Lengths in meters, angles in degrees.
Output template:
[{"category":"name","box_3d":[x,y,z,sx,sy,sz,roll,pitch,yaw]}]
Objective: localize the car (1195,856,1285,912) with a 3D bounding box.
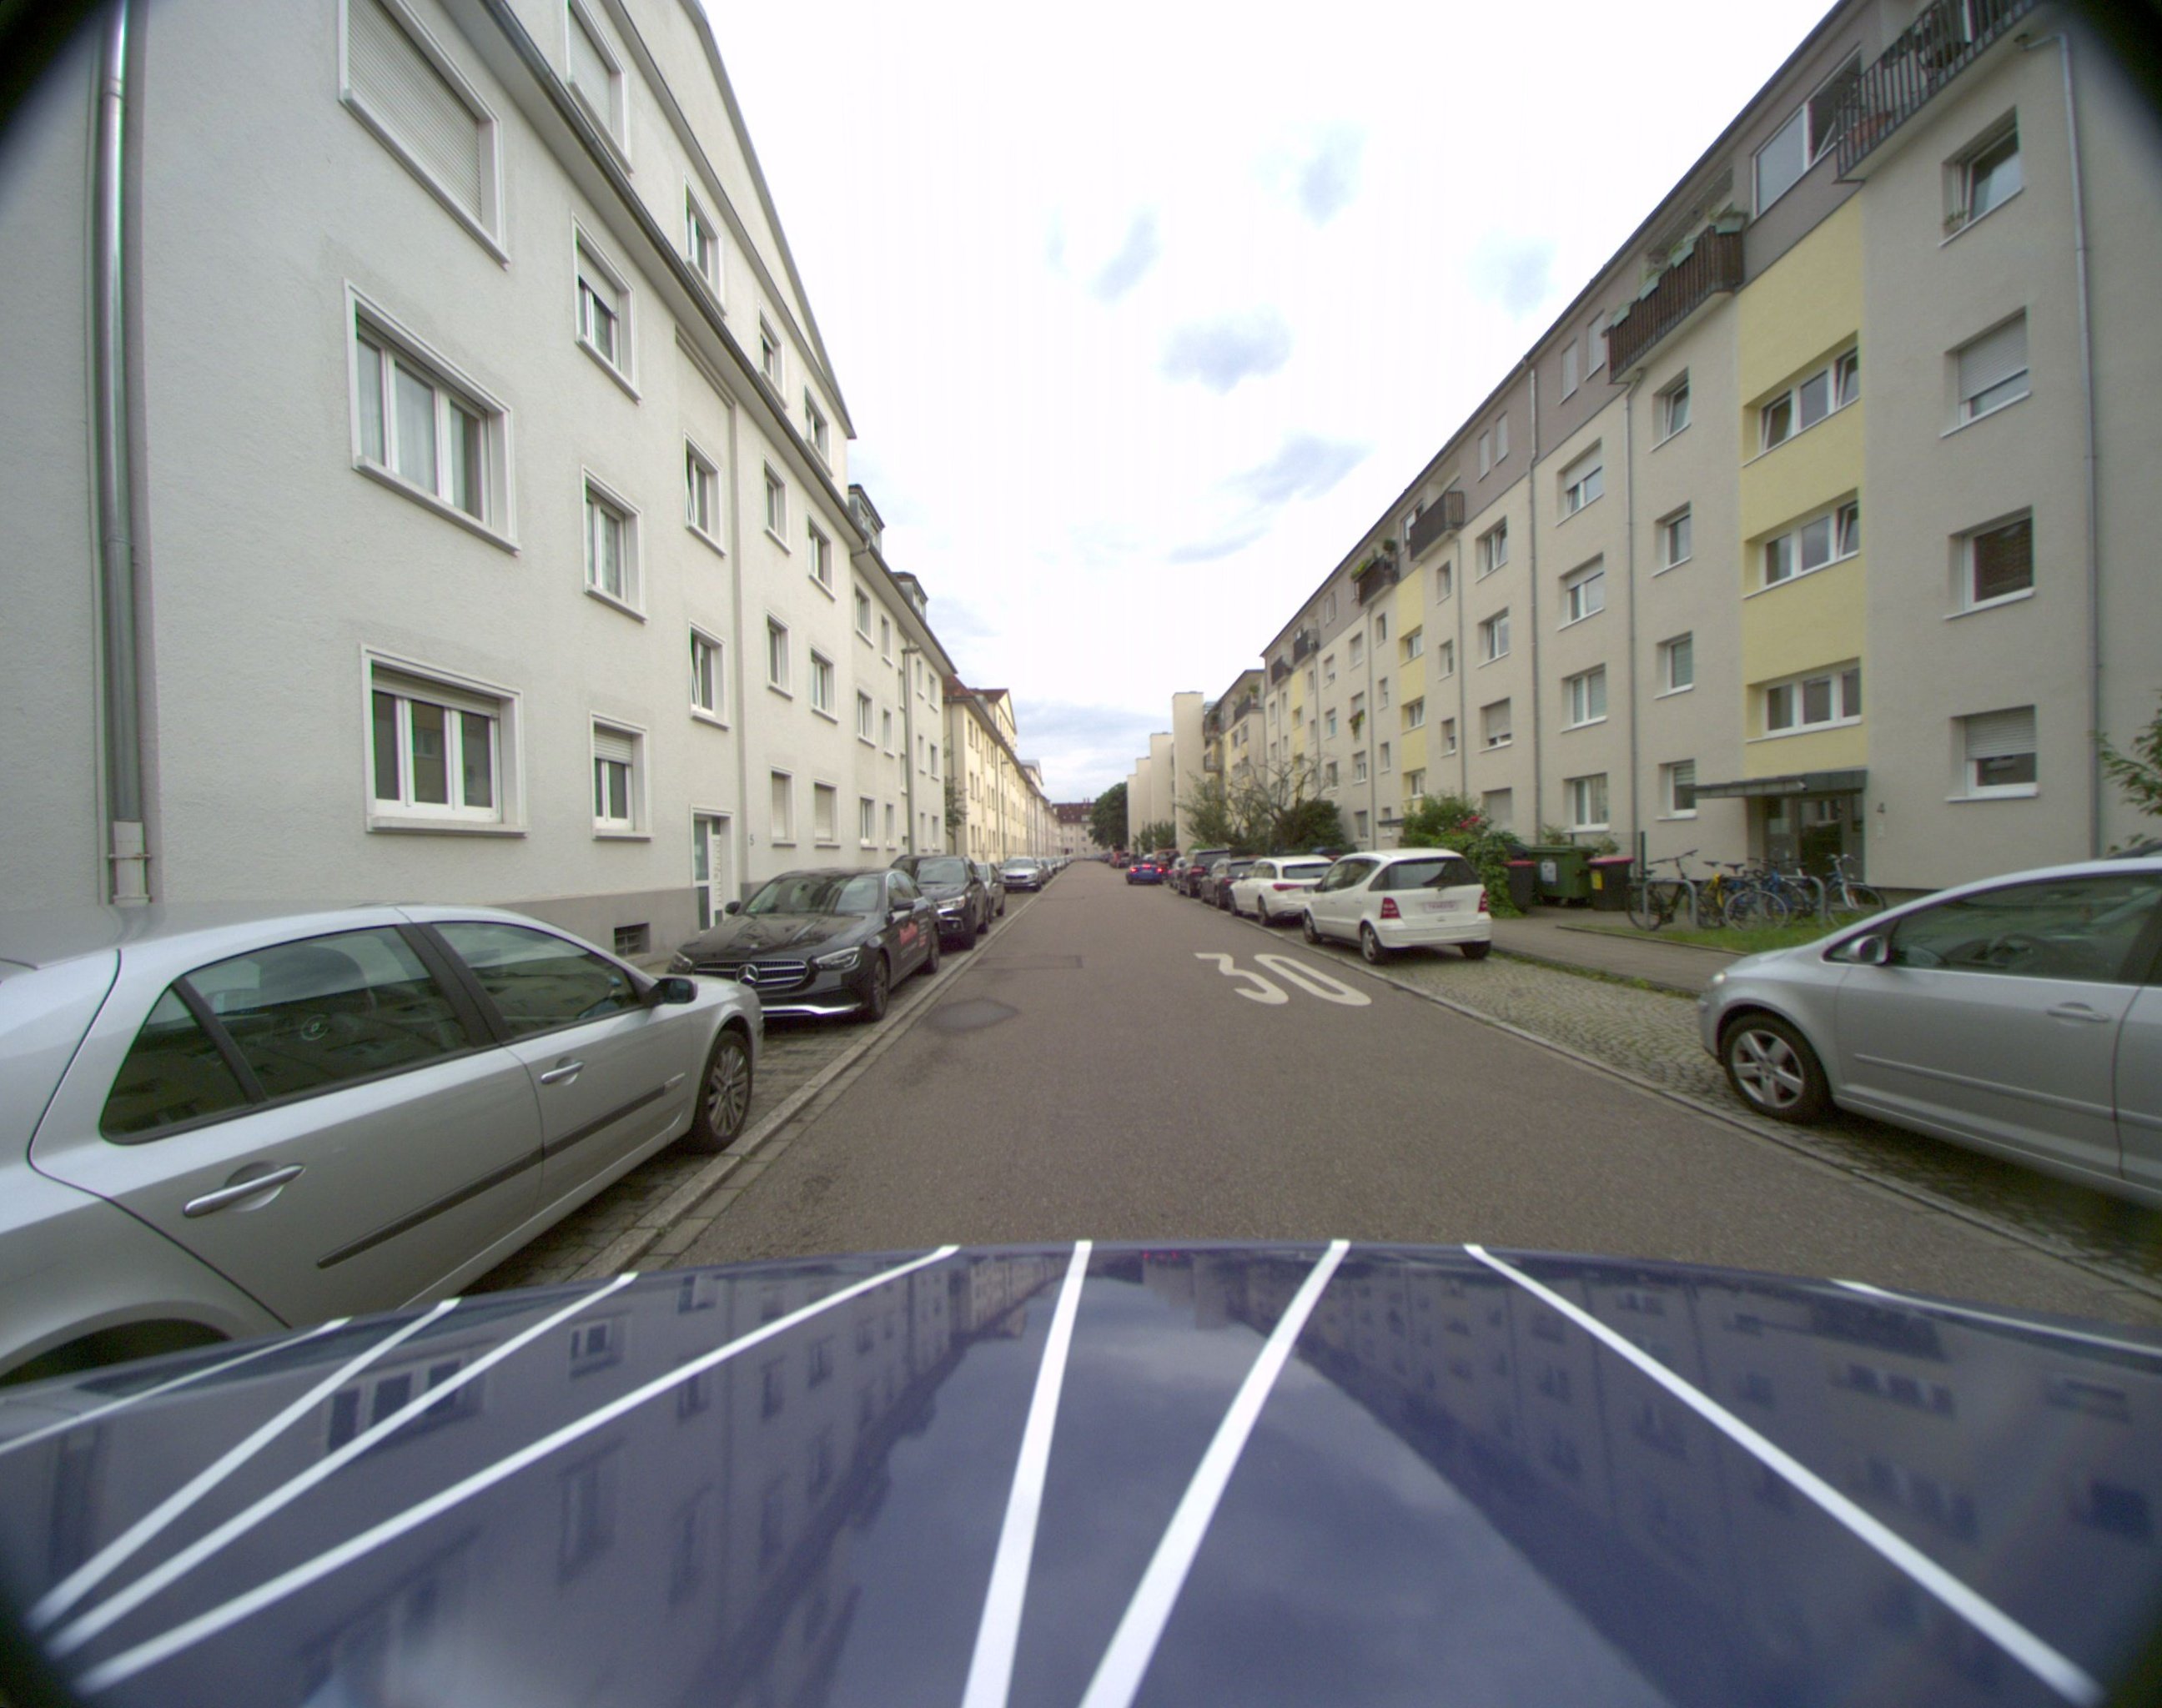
[{"category":"car","box_3d":[4.619,0.806,22.703,1.729,1.445,4.482,-1,0,0]}]

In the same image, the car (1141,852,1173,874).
[{"category":"car","box_3d":[5.175,0.618,52.283,1.707,1.436,3.541,-1,0,-2]}]

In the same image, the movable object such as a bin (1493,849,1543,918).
[{"category":"movable object such as a bin","box_3d":[9.044,0.596,15.744,0.659,1.360,0.587,-2,2,-4]}]

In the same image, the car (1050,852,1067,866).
[{"category":"car","box_3d":[-2.392,0.559,81.665,1.737,1.443,4.217,-1,0,-1]}]

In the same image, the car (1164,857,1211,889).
[{"category":"car","box_3d":[4.928,0.855,35.543,1.575,1.389,3.541,-1,0,-2]}]

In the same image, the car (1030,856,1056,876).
[{"category":"car","box_3d":[-2.691,0.839,54.778,1.737,1.402,4.217,-1,0,-1]}]

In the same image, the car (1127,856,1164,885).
[{"category":"car","box_3d":[3.409,0.848,40.757,1.679,1.307,3.907,-1,1,1]}]

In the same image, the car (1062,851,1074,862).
[{"category":"car","box_3d":[-2.052,0.408,120.484,1.737,1.670,3.591,-1,0,-1]}]

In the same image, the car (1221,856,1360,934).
[{"category":"car","box_3d":[4.618,0.835,17.521,1.723,1.501,4.686,-1,0,-2]}]

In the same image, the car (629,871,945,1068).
[{"category":"car","box_3d":[-2.734,0.970,8.238,1.786,1.454,4.322,-1,0,-1]}]

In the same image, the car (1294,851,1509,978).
[{"category":"car","box_3d":[4.740,0.797,11.853,1.689,1.629,3.727,-1,0,-1]}]

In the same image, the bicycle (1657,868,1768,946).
[{"category":"bicycle","box_3d":[9.175,0.735,11.101,0.357,1.018,1.497,-1,0,0]}]

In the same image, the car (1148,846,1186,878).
[{"category":"car","box_3d":[5.184,0.471,46.094,1.707,1.795,3.541,-1,0,-2]}]

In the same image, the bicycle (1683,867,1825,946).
[{"category":"bicycle","box_3d":[9.671,0.717,11.016,0.479,1.018,1.754,-1,0,0]}]

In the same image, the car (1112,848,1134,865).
[{"category":"car","box_3d":[5.102,0.331,92.486,2.188,2.019,4.422,-1,0,-2]}]

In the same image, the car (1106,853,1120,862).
[{"category":"car","box_3d":[5.499,0.631,131.275,1.745,1.534,3.636,-2,0,-6]}]

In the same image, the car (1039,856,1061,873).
[{"category":"car","box_3d":[-2.517,0.836,62.487,1.737,1.363,4.217,-1,0,-1]}]

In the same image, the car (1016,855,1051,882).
[{"category":"car","box_3d":[-2.661,0.800,43.534,1.737,1.418,4.217,-1,0,0]}]

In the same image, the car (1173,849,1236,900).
[{"category":"car","box_3d":[4.577,0.733,28.732,1.575,1.769,4.452,-1,0,-1]}]

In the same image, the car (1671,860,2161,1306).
[{"category":"car","box_3d":[4.726,0.840,3.000,1.658,1.541,3.915,-3,0,-1]}]

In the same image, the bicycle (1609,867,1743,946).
[{"category":"bicycle","box_3d":[8.695,0.730,11.206,0.489,1.018,1.878,-1,0,0]}]

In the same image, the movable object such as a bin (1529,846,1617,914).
[{"category":"movable object such as a bin","box_3d":[10.500,0.530,16.253,1.059,1.367,1.188,-2,2,-5]}]

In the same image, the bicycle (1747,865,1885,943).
[{"category":"bicycle","box_3d":[10.558,0.684,10.988,0.421,1.018,1.559,-2,0,-3]}]

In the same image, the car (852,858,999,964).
[{"category":"car","box_3d":[-2.620,0.892,13.781,1.853,1.589,4.159,-1,0,-1]}]

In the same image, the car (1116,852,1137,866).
[{"category":"car","box_3d":[5.138,0.576,86.251,2.013,1.436,4.197,-1,0,-2]}]

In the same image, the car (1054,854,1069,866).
[{"category":"car","box_3d":[-2.317,0.718,91.458,1.737,1.443,4.217,-1,0,-1]}]

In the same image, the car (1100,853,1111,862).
[{"category":"car","box_3d":[4.650,0.659,144.746,1.707,1.528,3.541,-2,0,-2]}]

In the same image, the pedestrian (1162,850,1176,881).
[{"category":"pedestrian","box_3d":[4.772,0.601,41.229,0.603,1.657,0.622,-2,0,-2]}]

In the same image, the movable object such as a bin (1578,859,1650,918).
[{"category":"movable object such as a bin","box_3d":[10.637,0.678,15.188,0.871,1.103,0.787,-2,2,-4]}]

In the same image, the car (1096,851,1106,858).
[{"category":"car","box_3d":[4.762,0.187,180.657,1.745,1.534,3.636,-2,0,-6]}]

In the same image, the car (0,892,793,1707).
[{"category":"car","box_3d":[-2.704,0.985,2.695,1.737,1.454,4.430,-1,0,-1]}]

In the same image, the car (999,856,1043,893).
[{"category":"car","box_3d":[-2.671,0.884,34.621,1.737,1.538,3.677,-1,1,-1]}]

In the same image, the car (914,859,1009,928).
[{"category":"car","box_3d":[-2.845,0.899,18.841,1.737,1.478,3.756,-1,0,0]}]
